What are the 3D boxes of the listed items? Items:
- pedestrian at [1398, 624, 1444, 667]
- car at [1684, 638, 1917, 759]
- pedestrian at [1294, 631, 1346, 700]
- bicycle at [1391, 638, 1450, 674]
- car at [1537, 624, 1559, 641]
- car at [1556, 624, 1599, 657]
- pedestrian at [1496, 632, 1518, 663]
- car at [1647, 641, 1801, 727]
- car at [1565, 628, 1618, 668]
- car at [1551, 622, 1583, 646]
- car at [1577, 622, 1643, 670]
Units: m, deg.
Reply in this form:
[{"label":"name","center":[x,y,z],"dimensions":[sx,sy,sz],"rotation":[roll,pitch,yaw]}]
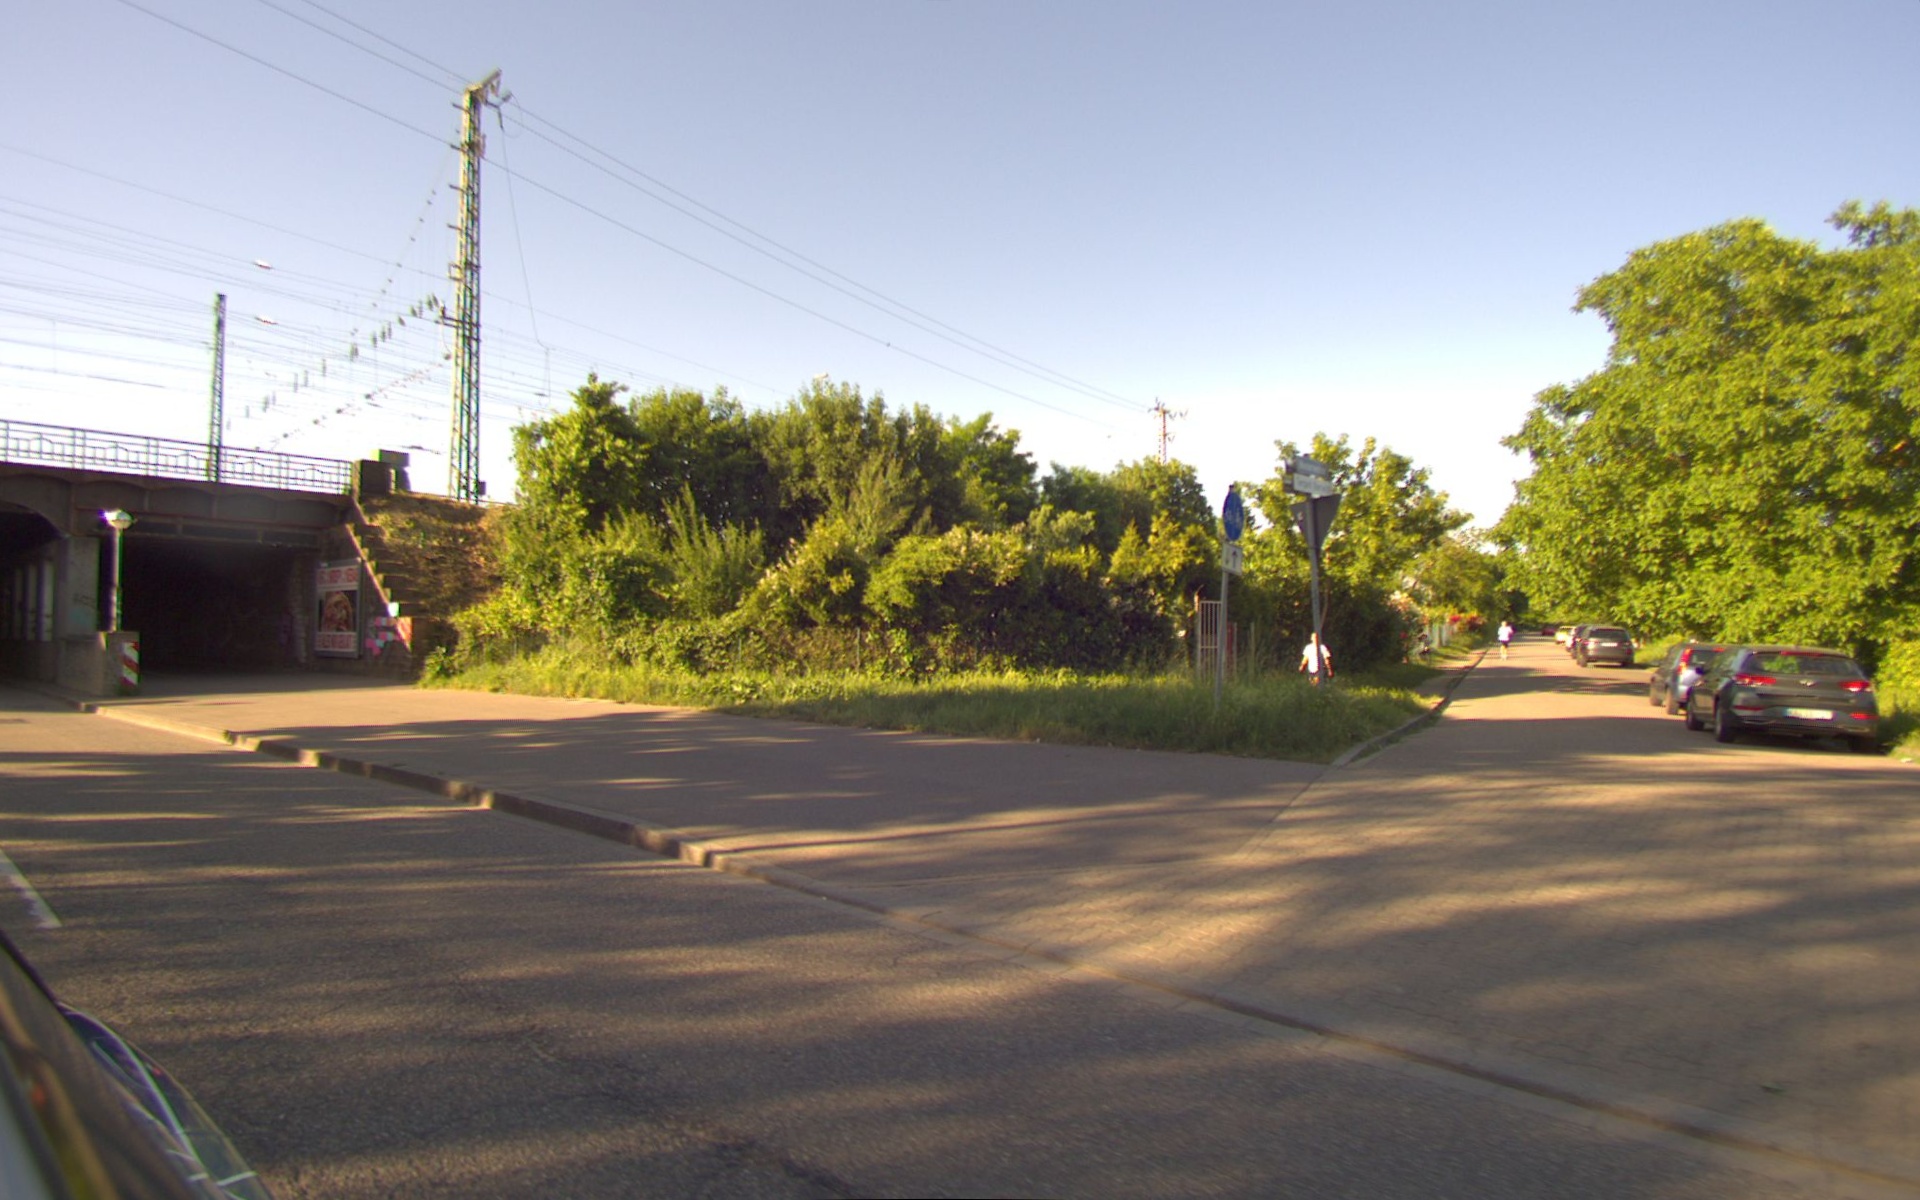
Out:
[{"label":"pedestrian","center":[17.753,1.733,39.039],"dimensions":[1.224,1.585,1.463],"rotation":[0,0,7]},{"label":"car","center":[12.388,1.352,15.215],"dimensions":[1.880,1.459,3.998],"rotation":[2,-1,28]},{"label":"pedestrian","center":[7.701,1.394,21.638],"dimensions":[0.811,1.415,1.009],"rotation":[1,-3,32]},{"label":"bicycle","center":[17.769,2.142,39.161],"dimensions":[1.232,1.204,2.903],"rotation":[0,0,7]},{"label":"car","center":[66.409,3.697,114.354],"dimensions":[1.880,1.758,3.998],"rotation":[2,-1,28]},{"label":"car","center":[35.825,2.342,58.800],"dimensions":[1.880,1.758,3.998],"rotation":[2,-1,28]},{"label":"pedestrian","center":[25.933,2.265,47.967],"dimensions":[0.811,1.415,1.009],"rotation":[1,-3,32]},{"label":"car","center":[15.490,1.628,20.749],"dimensions":[1.880,1.459,3.998],"rotation":[2,-1,28]},{"label":"car","center":[30.719,2.312,49.347],"dimensions":[1.880,1.758,3.998],"rotation":[2,-1,28]},{"label":"car","center":[46.519,2.601,77.623],"dimensions":[1.880,1.758,3.998],"rotation":[2,-1,28]},{"label":"car","center":[26.062,1.812,40.687],"dimensions":[1.880,1.758,3.998],"rotation":[2,-1,28]}]
